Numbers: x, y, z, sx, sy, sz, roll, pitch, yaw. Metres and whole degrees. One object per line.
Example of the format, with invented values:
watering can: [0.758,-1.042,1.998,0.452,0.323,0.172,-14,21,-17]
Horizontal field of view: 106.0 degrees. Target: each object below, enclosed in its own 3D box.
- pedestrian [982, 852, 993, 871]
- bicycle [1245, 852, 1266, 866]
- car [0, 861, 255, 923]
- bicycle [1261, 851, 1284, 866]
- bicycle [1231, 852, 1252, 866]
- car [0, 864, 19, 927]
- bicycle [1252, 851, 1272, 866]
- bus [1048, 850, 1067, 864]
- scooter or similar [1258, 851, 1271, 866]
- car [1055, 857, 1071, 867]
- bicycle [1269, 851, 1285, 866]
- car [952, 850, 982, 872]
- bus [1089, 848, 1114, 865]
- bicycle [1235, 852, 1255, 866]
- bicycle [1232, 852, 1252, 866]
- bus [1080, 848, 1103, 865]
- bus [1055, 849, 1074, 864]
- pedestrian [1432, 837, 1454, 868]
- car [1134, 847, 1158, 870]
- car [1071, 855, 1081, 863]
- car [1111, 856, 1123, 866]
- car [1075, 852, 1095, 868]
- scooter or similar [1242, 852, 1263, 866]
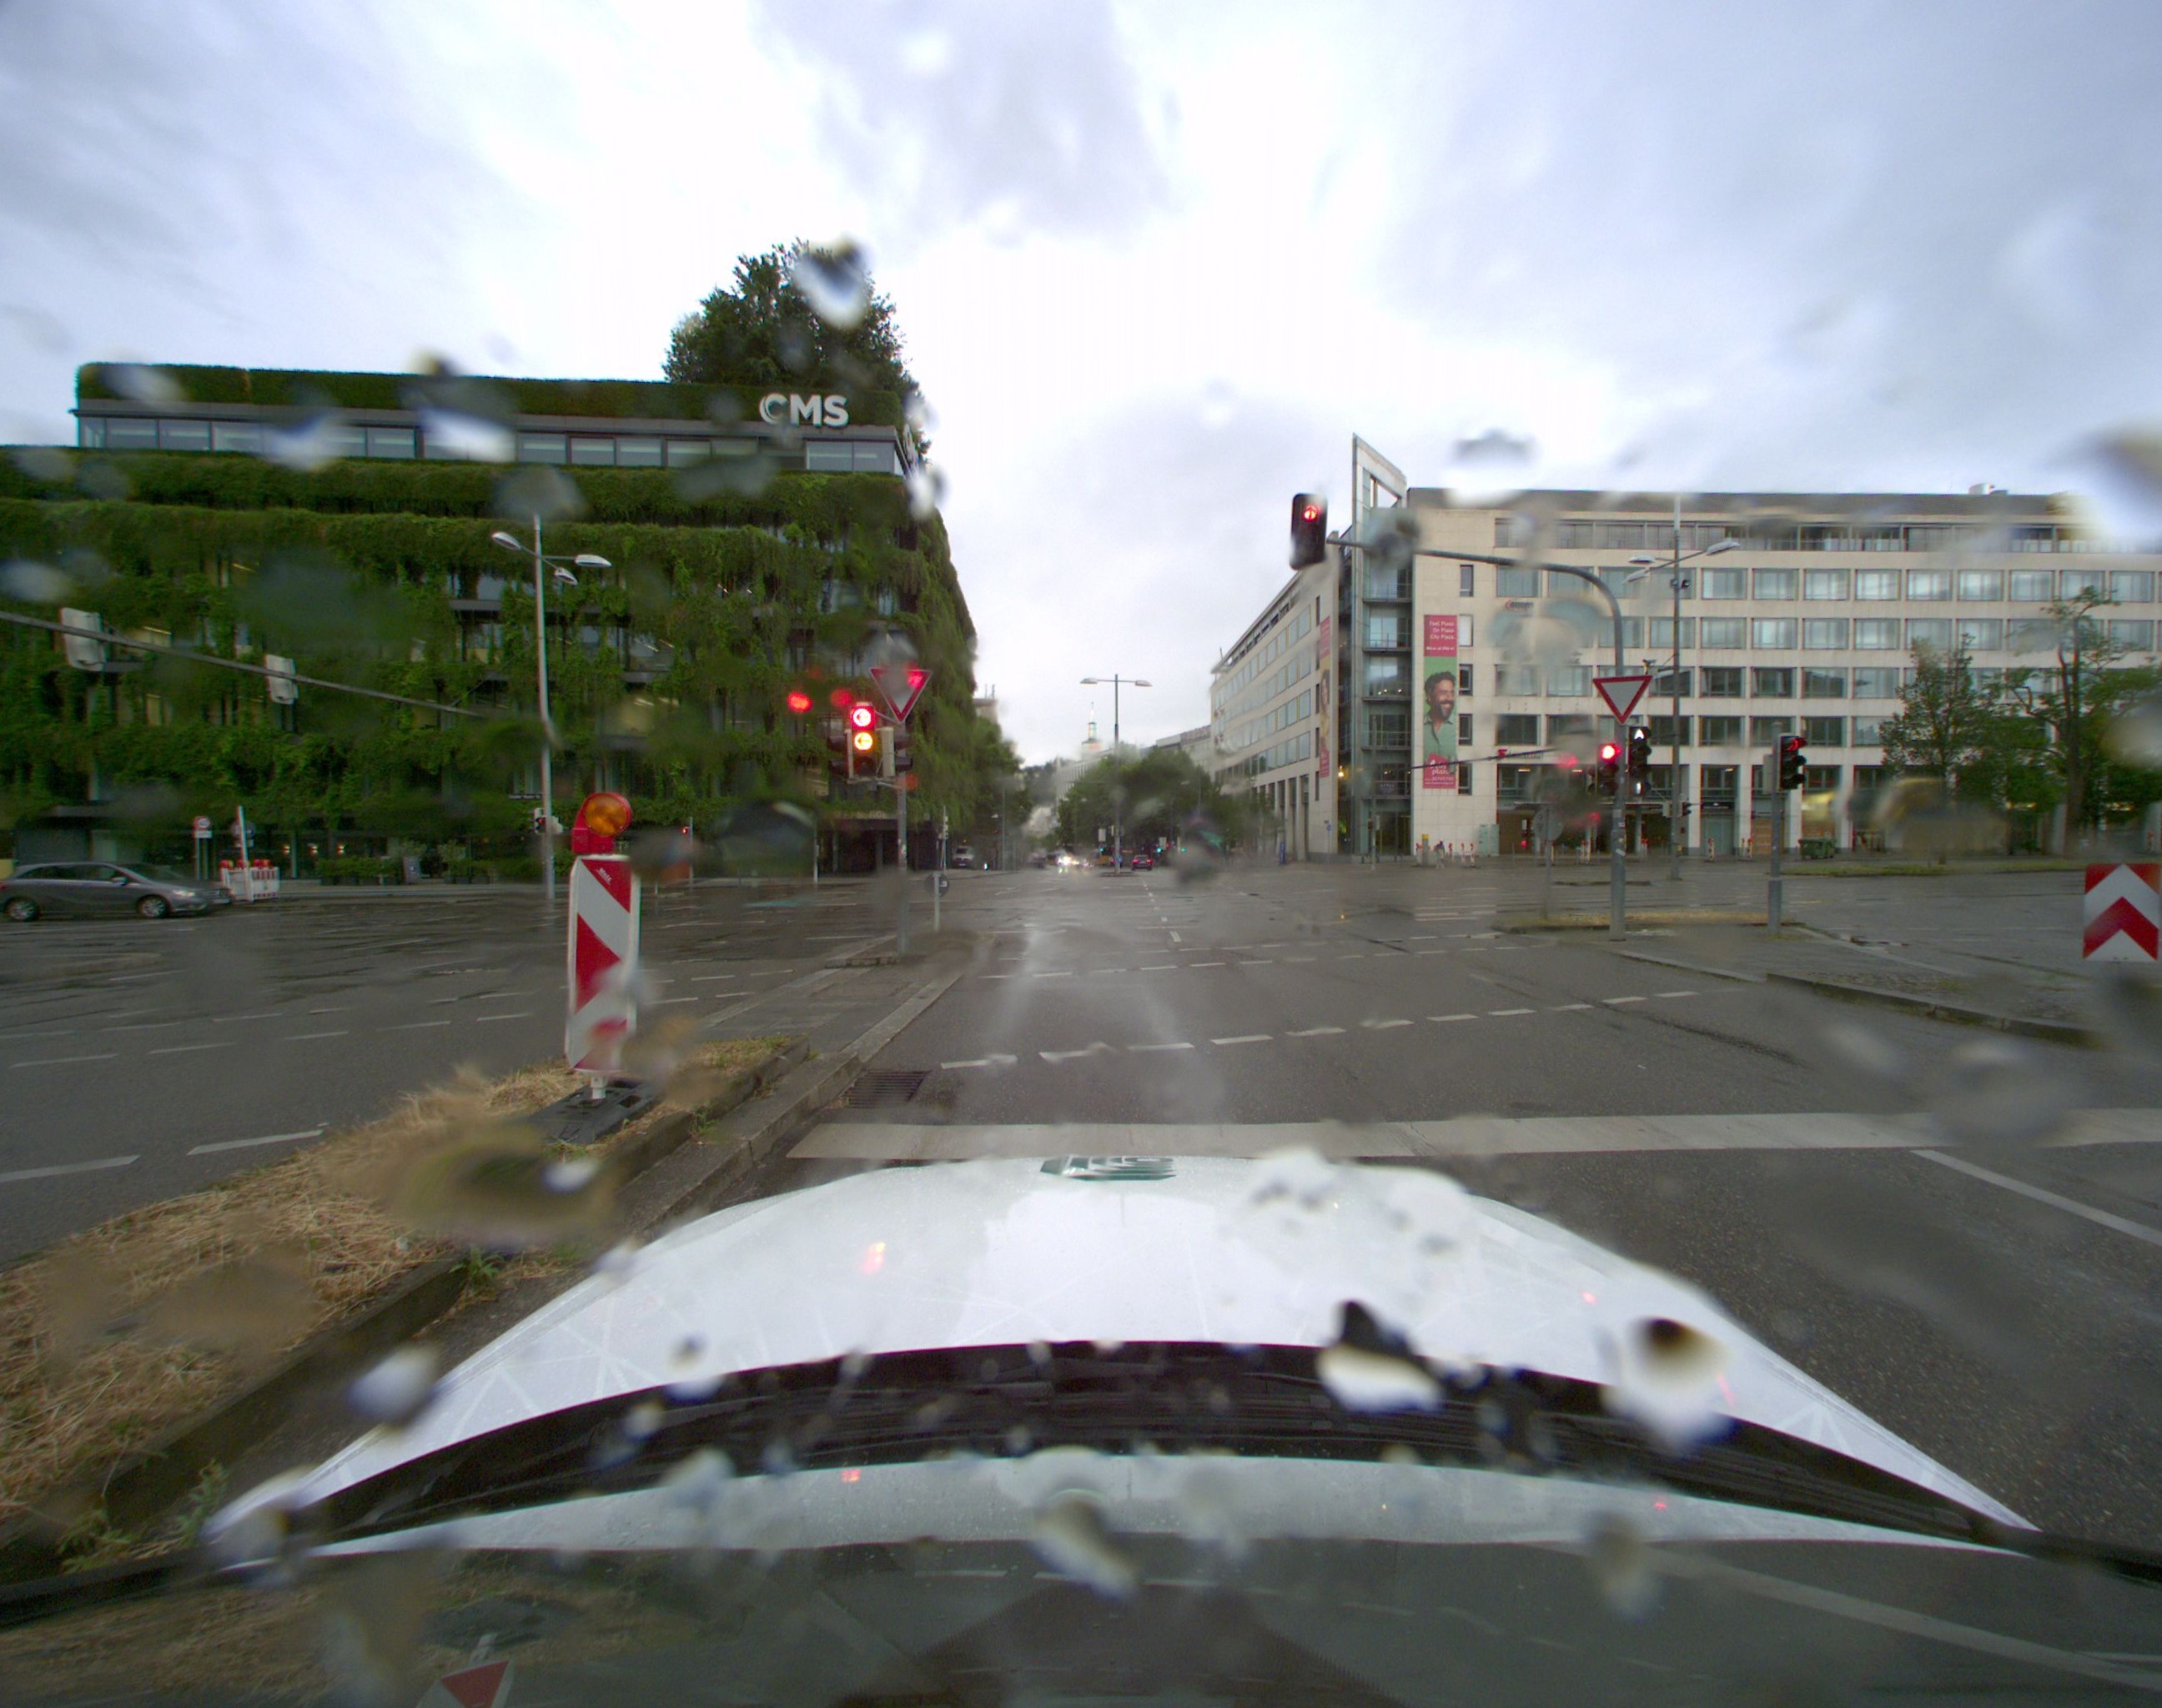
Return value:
pedestrian: [-8.269,0.635,72.089,0.930,1.644,0.774,0,-1,1]
bicycle: [15.288,0.429,71.412,1.770,1.194,0.587,0,-1,3]
car: [-26.123,0.987,22.066,4.901,1.488,1.924,-1,0,-15]
bicycle: [15.201,0.374,64.647,1.607,1.194,0.590,-1,-1,27]
bicycle: [14.296,0.446,72.605,1.770,1.194,0.587,0,-1,3]
car: [-27.340,1.005,18.309,3.981,1.475,1.996,-1,0,-6]
bicycle: [14.728,0.390,66.212,0.588,1.194,1.768,0,-1,-26]
bus: [-5.242,0.587,180.719,2.631,2.995,7.415,-1,0,-13]
scooter or similar: [14.420,0.374,63.981,0.951,1.194,0.458,-1,-1,42]
car: [-3.106,1.341,141.025,2.164,1.765,5.095,0,-1,-9]
bicycle: [16.051,0.385,66.738,0.579,1.194,1.794,-1,-1,40]
car: [-9.558,0.603,68.735,1.863,1.839,4.001,0,-1,2]
bus: [3.678,0.412,146.090,2.631,2.995,7.415,-1,0,-13]
bicycle: [14.939,0.454,74.143,1.770,1.194,0.587,0,-1,3]
bicycle: [14.472,0.450,73.236,1.770,1.194,0.587,0,-1,3]
bus: [1.985,0.442,153.283,2.631,2.995,7.415,-1,0,-13]
bus: [-3.546,0.570,173.576,2.631,2.995,7.294,-1,0,-13]
pedestrian: [21.913,-0.079,49.294,0.958,1.816,0.837,0,-1,1]
car: [6.044,0.428,75.675,1.533,2.014,4.684,-1,-1,13]
car: [-1.028,0.990,156.620,1.775,1.508,4.001,0,-1,2]
car: [5.465,1.092,124.019,1.775,1.508,4.001,0,-1,2]
car: [0.426,0.679,95.228,2.158,1.765,5.109,0,-1,-1]
scooter or similar: [14.908,0.426,70.798,1.770,1.194,0.587,0,-1,3]
